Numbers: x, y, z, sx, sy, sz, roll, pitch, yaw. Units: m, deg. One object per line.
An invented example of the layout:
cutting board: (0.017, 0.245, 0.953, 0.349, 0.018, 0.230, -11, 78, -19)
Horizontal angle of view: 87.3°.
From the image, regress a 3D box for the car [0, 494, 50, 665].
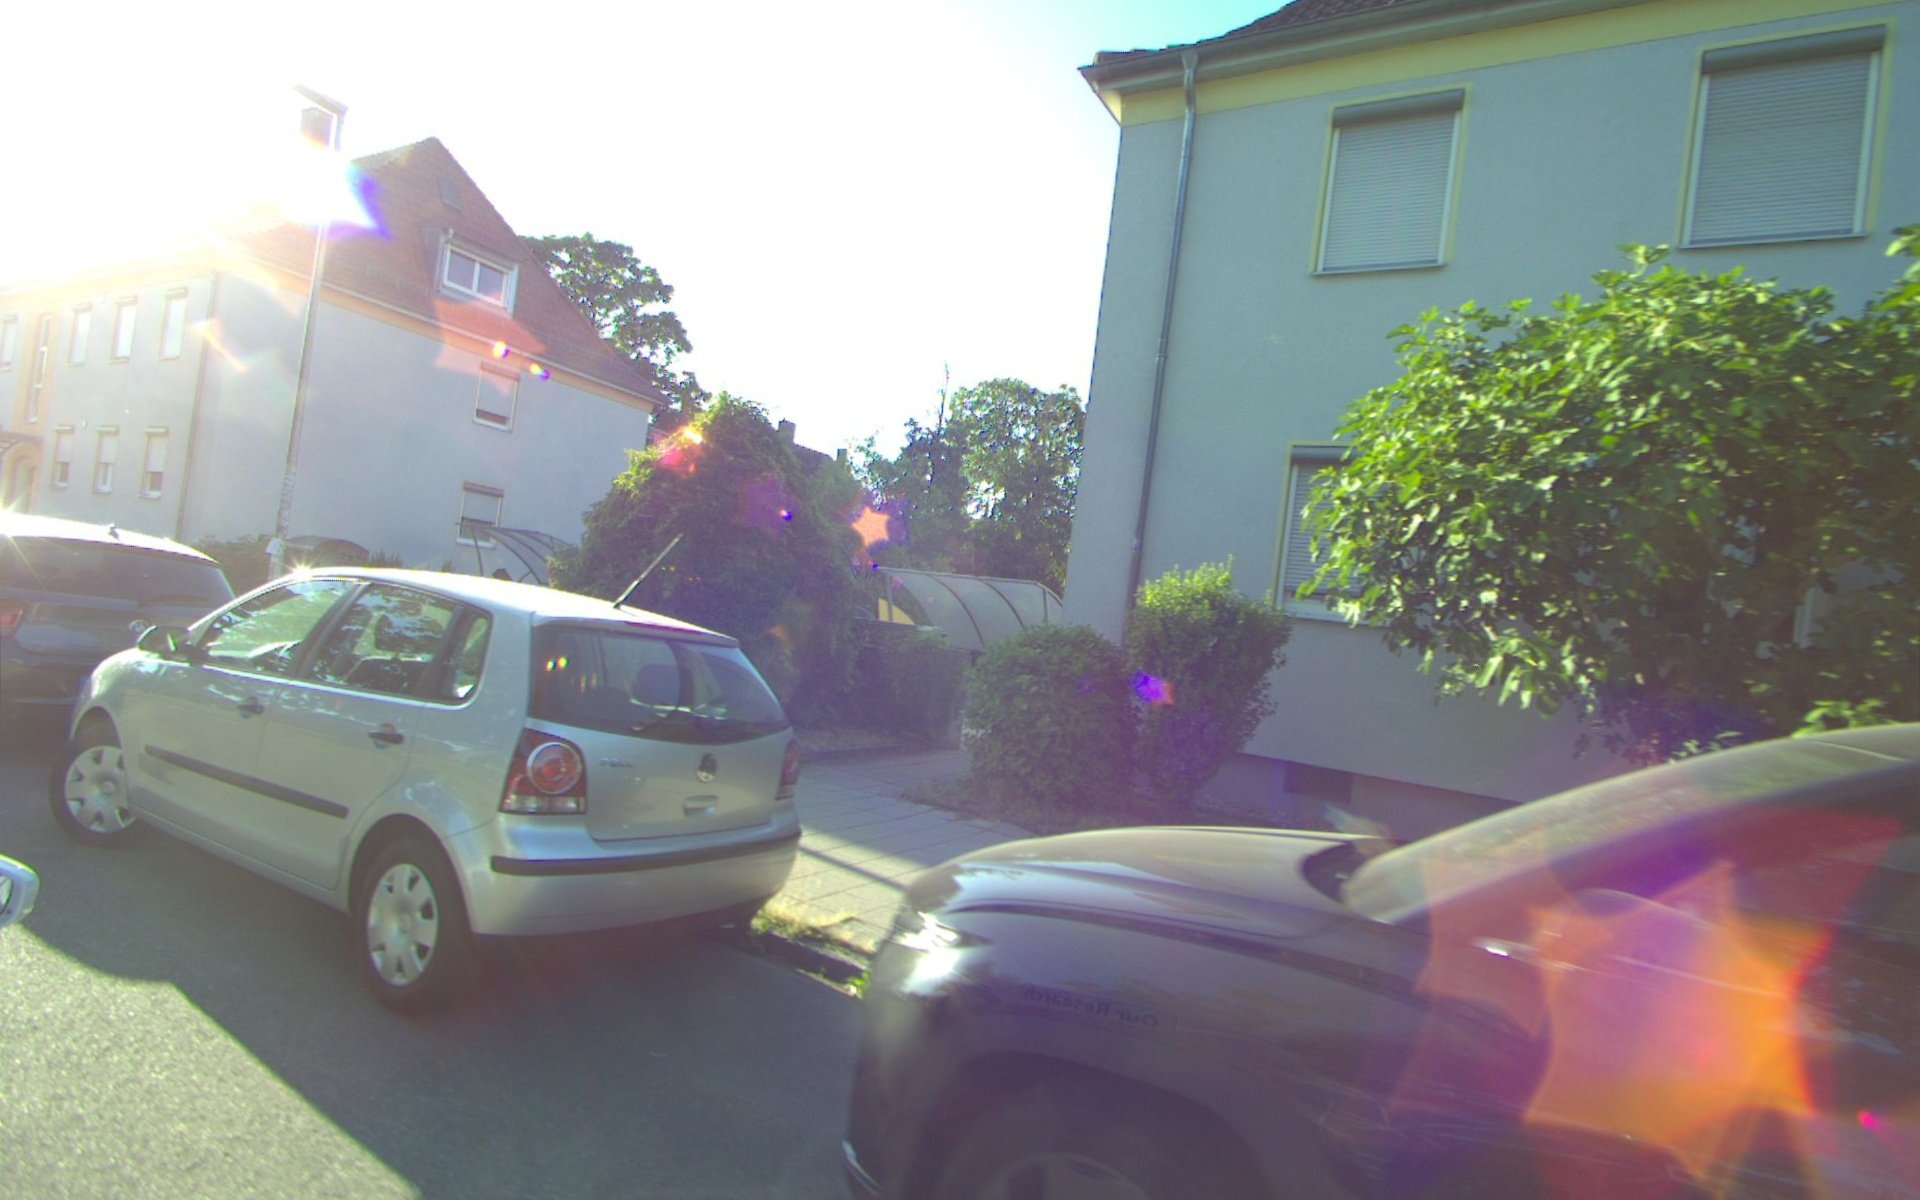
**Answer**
car: (-11.106, -0.472, 9.923, 4.341, 1.579, 1.729, 7, -2, 29)

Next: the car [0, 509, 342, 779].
car: (-6.762, 0.125, 7.336, 4.488, 1.478, 1.998, 7, -3, 33)

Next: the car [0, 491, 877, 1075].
car: (-2.678, 0.555, 4.724, 4.137, 1.563, 1.736, 6, -6, 30)

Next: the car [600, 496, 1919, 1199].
car: (1.767, 0.943, 1.756, 4.740, 1.676, 1.858, 7, -2, 32)
